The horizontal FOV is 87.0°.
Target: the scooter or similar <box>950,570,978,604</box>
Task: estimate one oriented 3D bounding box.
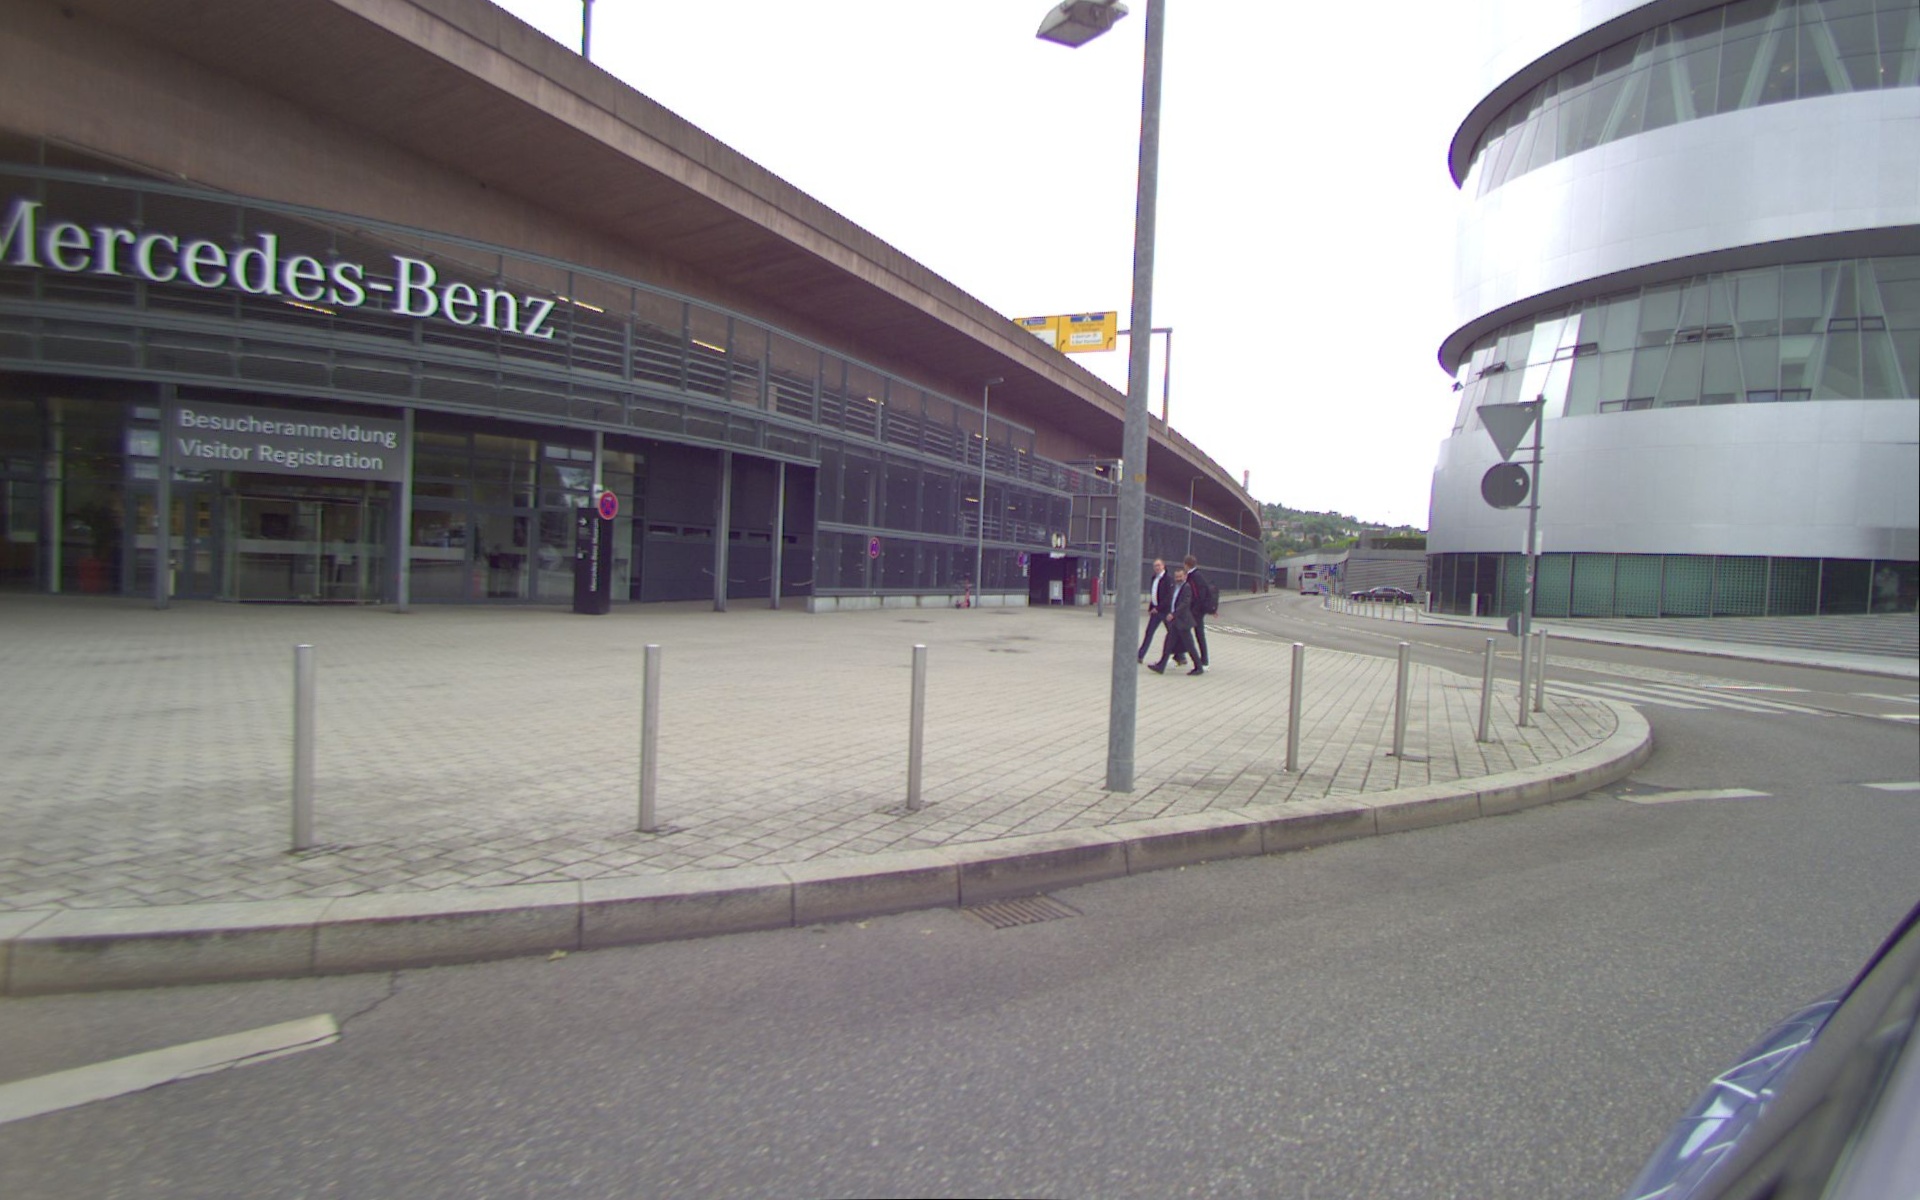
[{"bbox_3d":[0.143,-0.455,35.765,0.377,1.137,1.415,4,1,25],"label":"scooter or similar"}]

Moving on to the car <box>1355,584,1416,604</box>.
[{"bbox_3d":[37.221,-0.529,88.648,4.855,1.415,1.523,4,1,24],"label":"car"}]

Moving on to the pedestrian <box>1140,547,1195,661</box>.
[{"bbox_3d":[3.505,0.054,17.060,0.772,1.820,0.861,3,1,15],"label":"pedestrian"}]

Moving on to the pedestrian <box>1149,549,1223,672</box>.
[{"bbox_3d":[3.339,0.139,15.031,0.757,1.726,0.866,3,1,-4],"label":"pedestrian"}]

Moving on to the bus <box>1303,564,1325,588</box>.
[{"bbox_3d":[54.122,-3.615,154.859,2.896,3.483,6.923,4,1,19],"label":"bus"}]

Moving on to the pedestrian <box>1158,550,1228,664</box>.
[{"bbox_3d":[3.685,0.093,16.043,0.757,1.726,0.788,3,1,-8],"label":"pedestrian"}]
